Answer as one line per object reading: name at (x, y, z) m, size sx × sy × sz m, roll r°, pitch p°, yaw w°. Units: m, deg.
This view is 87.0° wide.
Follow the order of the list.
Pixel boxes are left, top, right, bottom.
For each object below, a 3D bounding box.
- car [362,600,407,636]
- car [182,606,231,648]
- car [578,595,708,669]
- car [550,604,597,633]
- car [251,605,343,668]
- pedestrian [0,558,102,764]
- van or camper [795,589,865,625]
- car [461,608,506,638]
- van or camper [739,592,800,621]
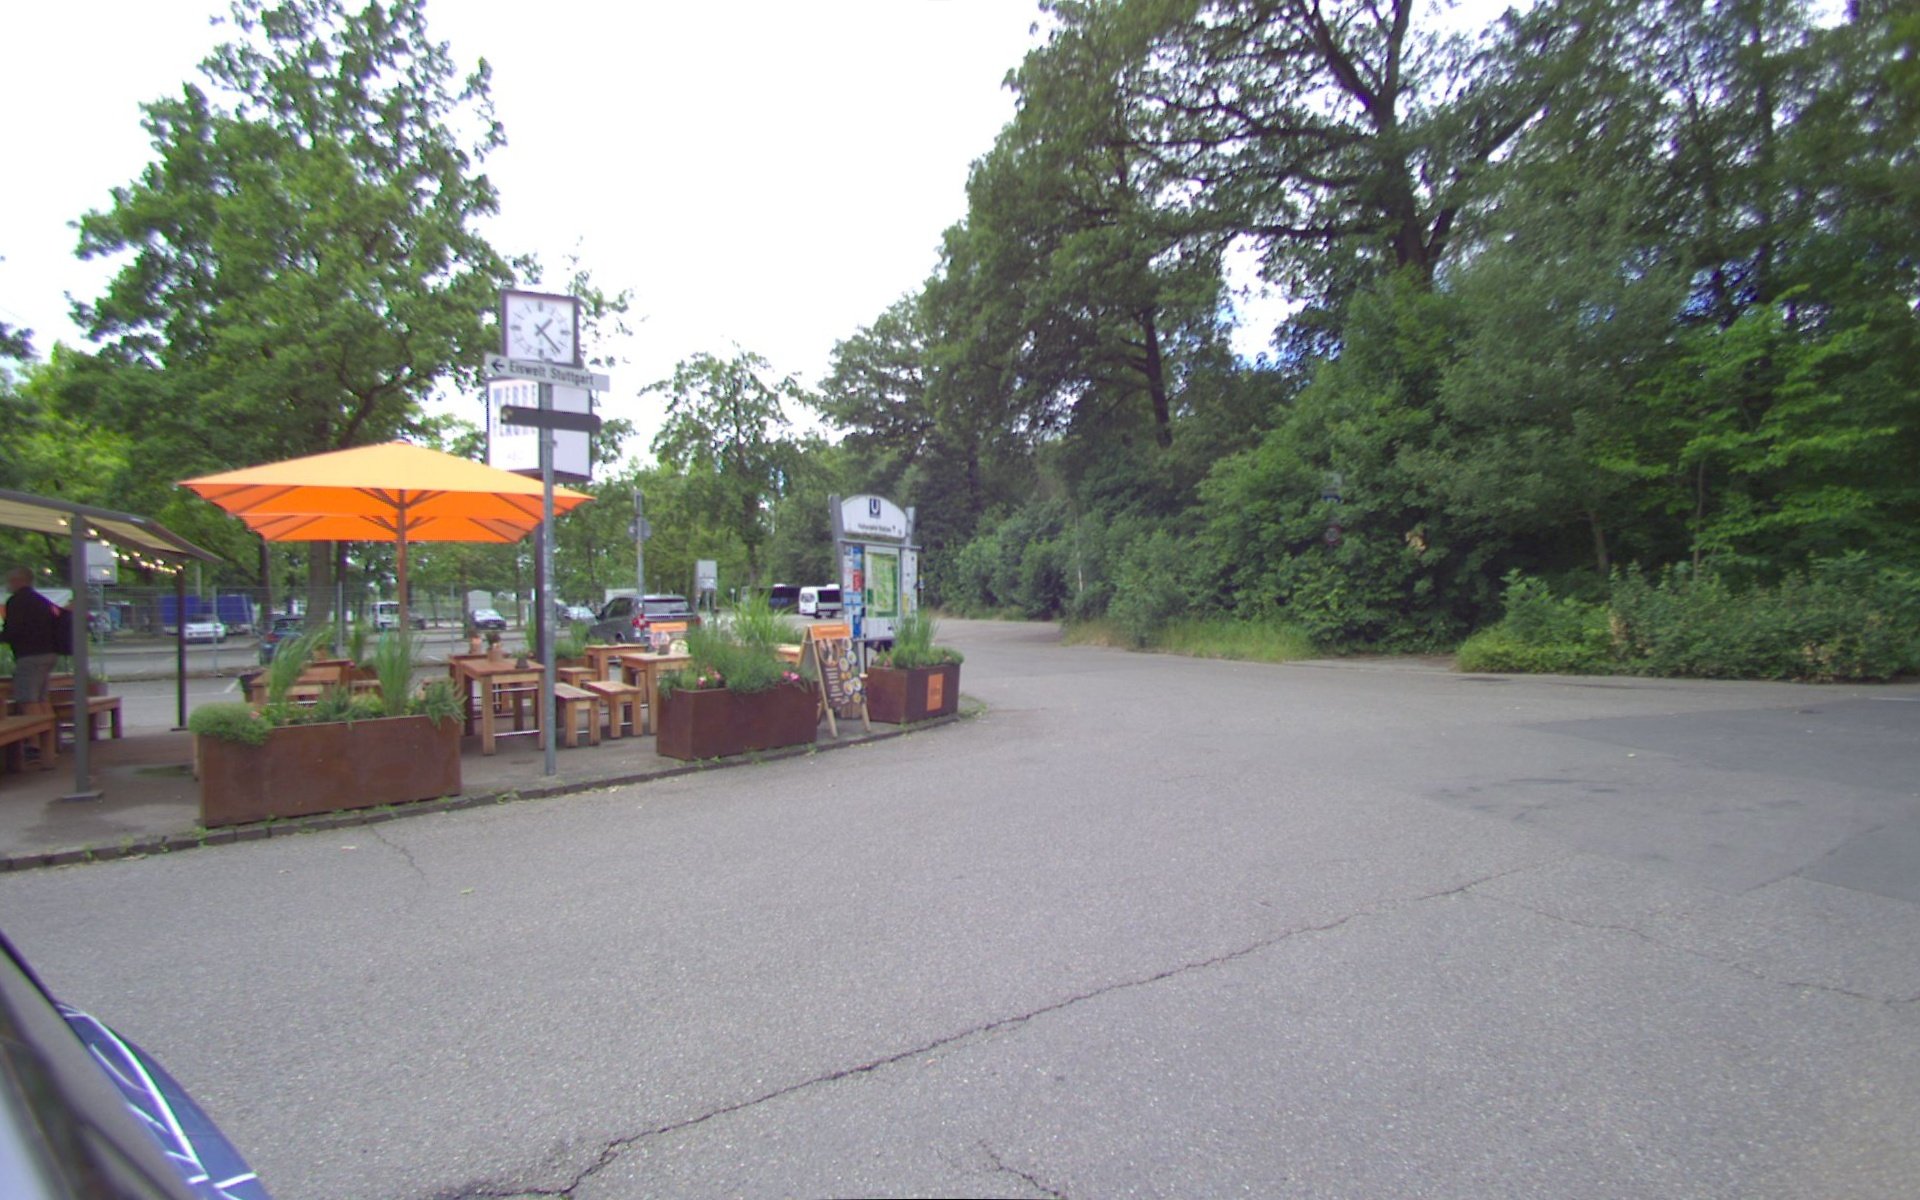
car at (-35.027, 1.097, 61.545) m, size 1.847 × 2.055 × 4.601 m, roll -1°, pitch 0°, yaw -36°
car at (-38.719, 1.374, 52.064) m, size 1.967 × 2.029 × 4.009 m, roll -1°, pitch 0°, yaw -36°
car at (-8.096, 0.768, 25.591) m, size 1.904 × 1.682 × 4.356 m, roll -1°, pitch 0°, yaw -35°
car at (-25.934, 1.235, 67.854) m, size 1.847 × 1.793 × 4.306 m, roll -1°, pitch 0°, yaw -36°
car at (-18.165, 0.961, 27.776) m, size 1.966 × 1.564 × 4.011 m, roll -1°, pitch 0°, yaw -33°
pedestrian at (-8.630, 0.548, 9.481) m, size 0.737 × 1.845 × 0.712 m, roll -1°, pitch 0°, yaw -27°
van or camper at (-11.038, 0.545, 86.632) m, size 2.059 × 2.871 × 7.271 m, roll -1°, pitch 0°, yaw 28°
car at (-30.521, 1.441, 64.743) m, size 1.847 × 1.793 × 4.306 m, roll -1°, pitch 0°, yaw -36°
van or camper at (-20.430, 0.650, 108.959) m, size 2.195 × 2.871 × 7.266 m, roll -1°, pitch 0°, yaw 30°
